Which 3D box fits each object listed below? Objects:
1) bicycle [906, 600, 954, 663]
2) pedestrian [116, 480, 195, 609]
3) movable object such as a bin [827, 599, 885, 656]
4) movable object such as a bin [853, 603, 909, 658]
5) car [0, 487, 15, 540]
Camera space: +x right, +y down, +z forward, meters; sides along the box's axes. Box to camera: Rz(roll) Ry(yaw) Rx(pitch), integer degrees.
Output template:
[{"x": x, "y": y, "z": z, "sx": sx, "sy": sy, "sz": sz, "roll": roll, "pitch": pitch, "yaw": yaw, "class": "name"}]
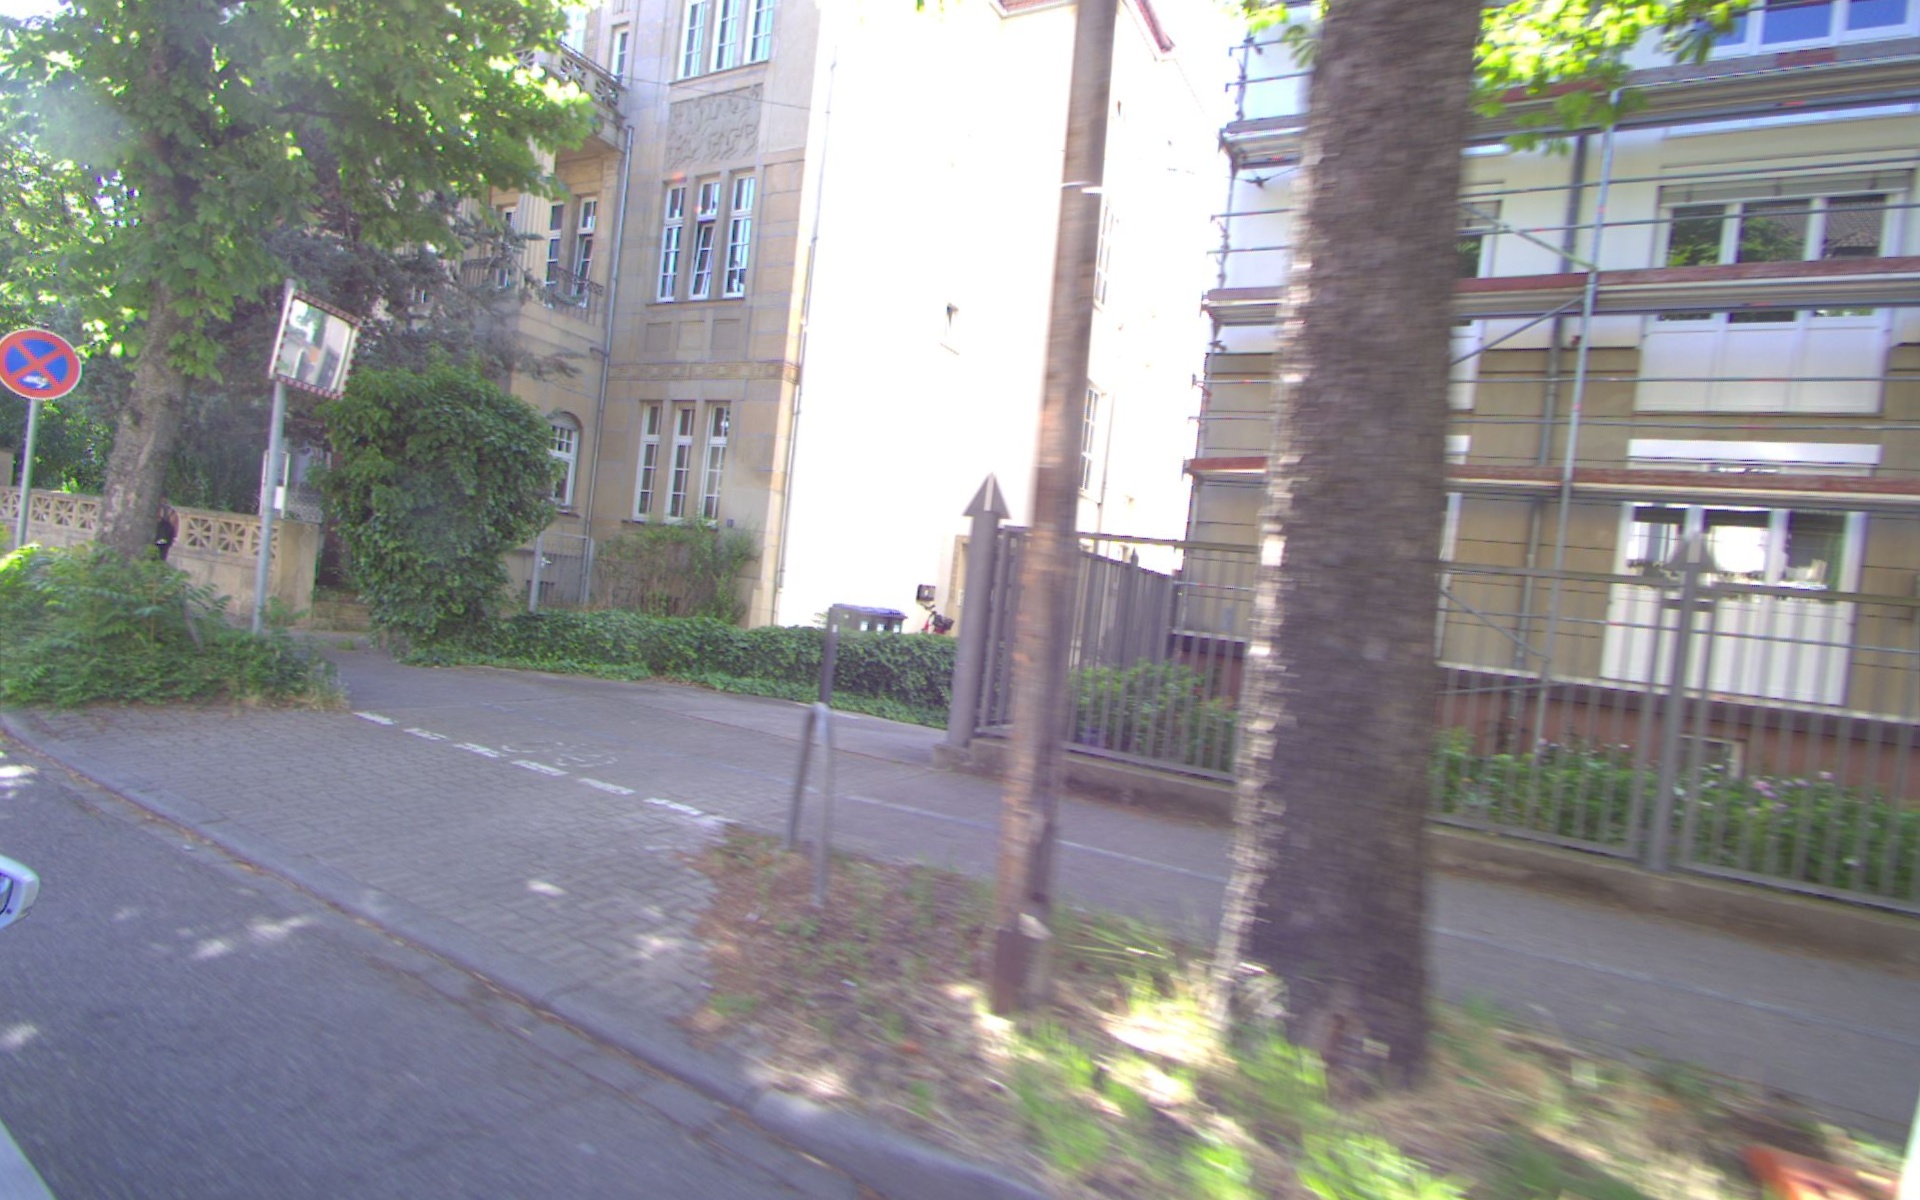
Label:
[{"x": -0.599, "y": 0.670, "z": 20.757, "sx": 0.428, "sy": 1.213, "sz": 1.701, "roll": 7, "pitch": -1, "yaw": 14, "class": "bicycle"}, {"x": -11.019, "y": -0.752, "z": 13.783, "sx": 0.636, "sy": 1.693, "sz": 0.592, "roll": 6, "pitch": 2, "yaw": 31, "class": "pedestrian"}, {"x": -1.961, "y": 0.528, "z": 19.038, "sx": 0.637, "sy": 0.966, "sz": 0.835, "roll": 6, "pitch": -1, "yaw": 30, "class": "movable object such as a bin"}, {"x": -1.546, "y": 0.600, "z": 19.800, "sx": 0.637, "sy": 0.966, "sz": 0.835, "roll": 6, "pitch": -1, "yaw": 30, "class": "movable object such as a bin"}, {"x": -31.331, "y": -2.909, "z": 30.276, "sx": 1.964, "sy": 1.637, "sz": 3.999, "roll": 7, "pitch": -1, "yaw": -4, "class": "car"}]
